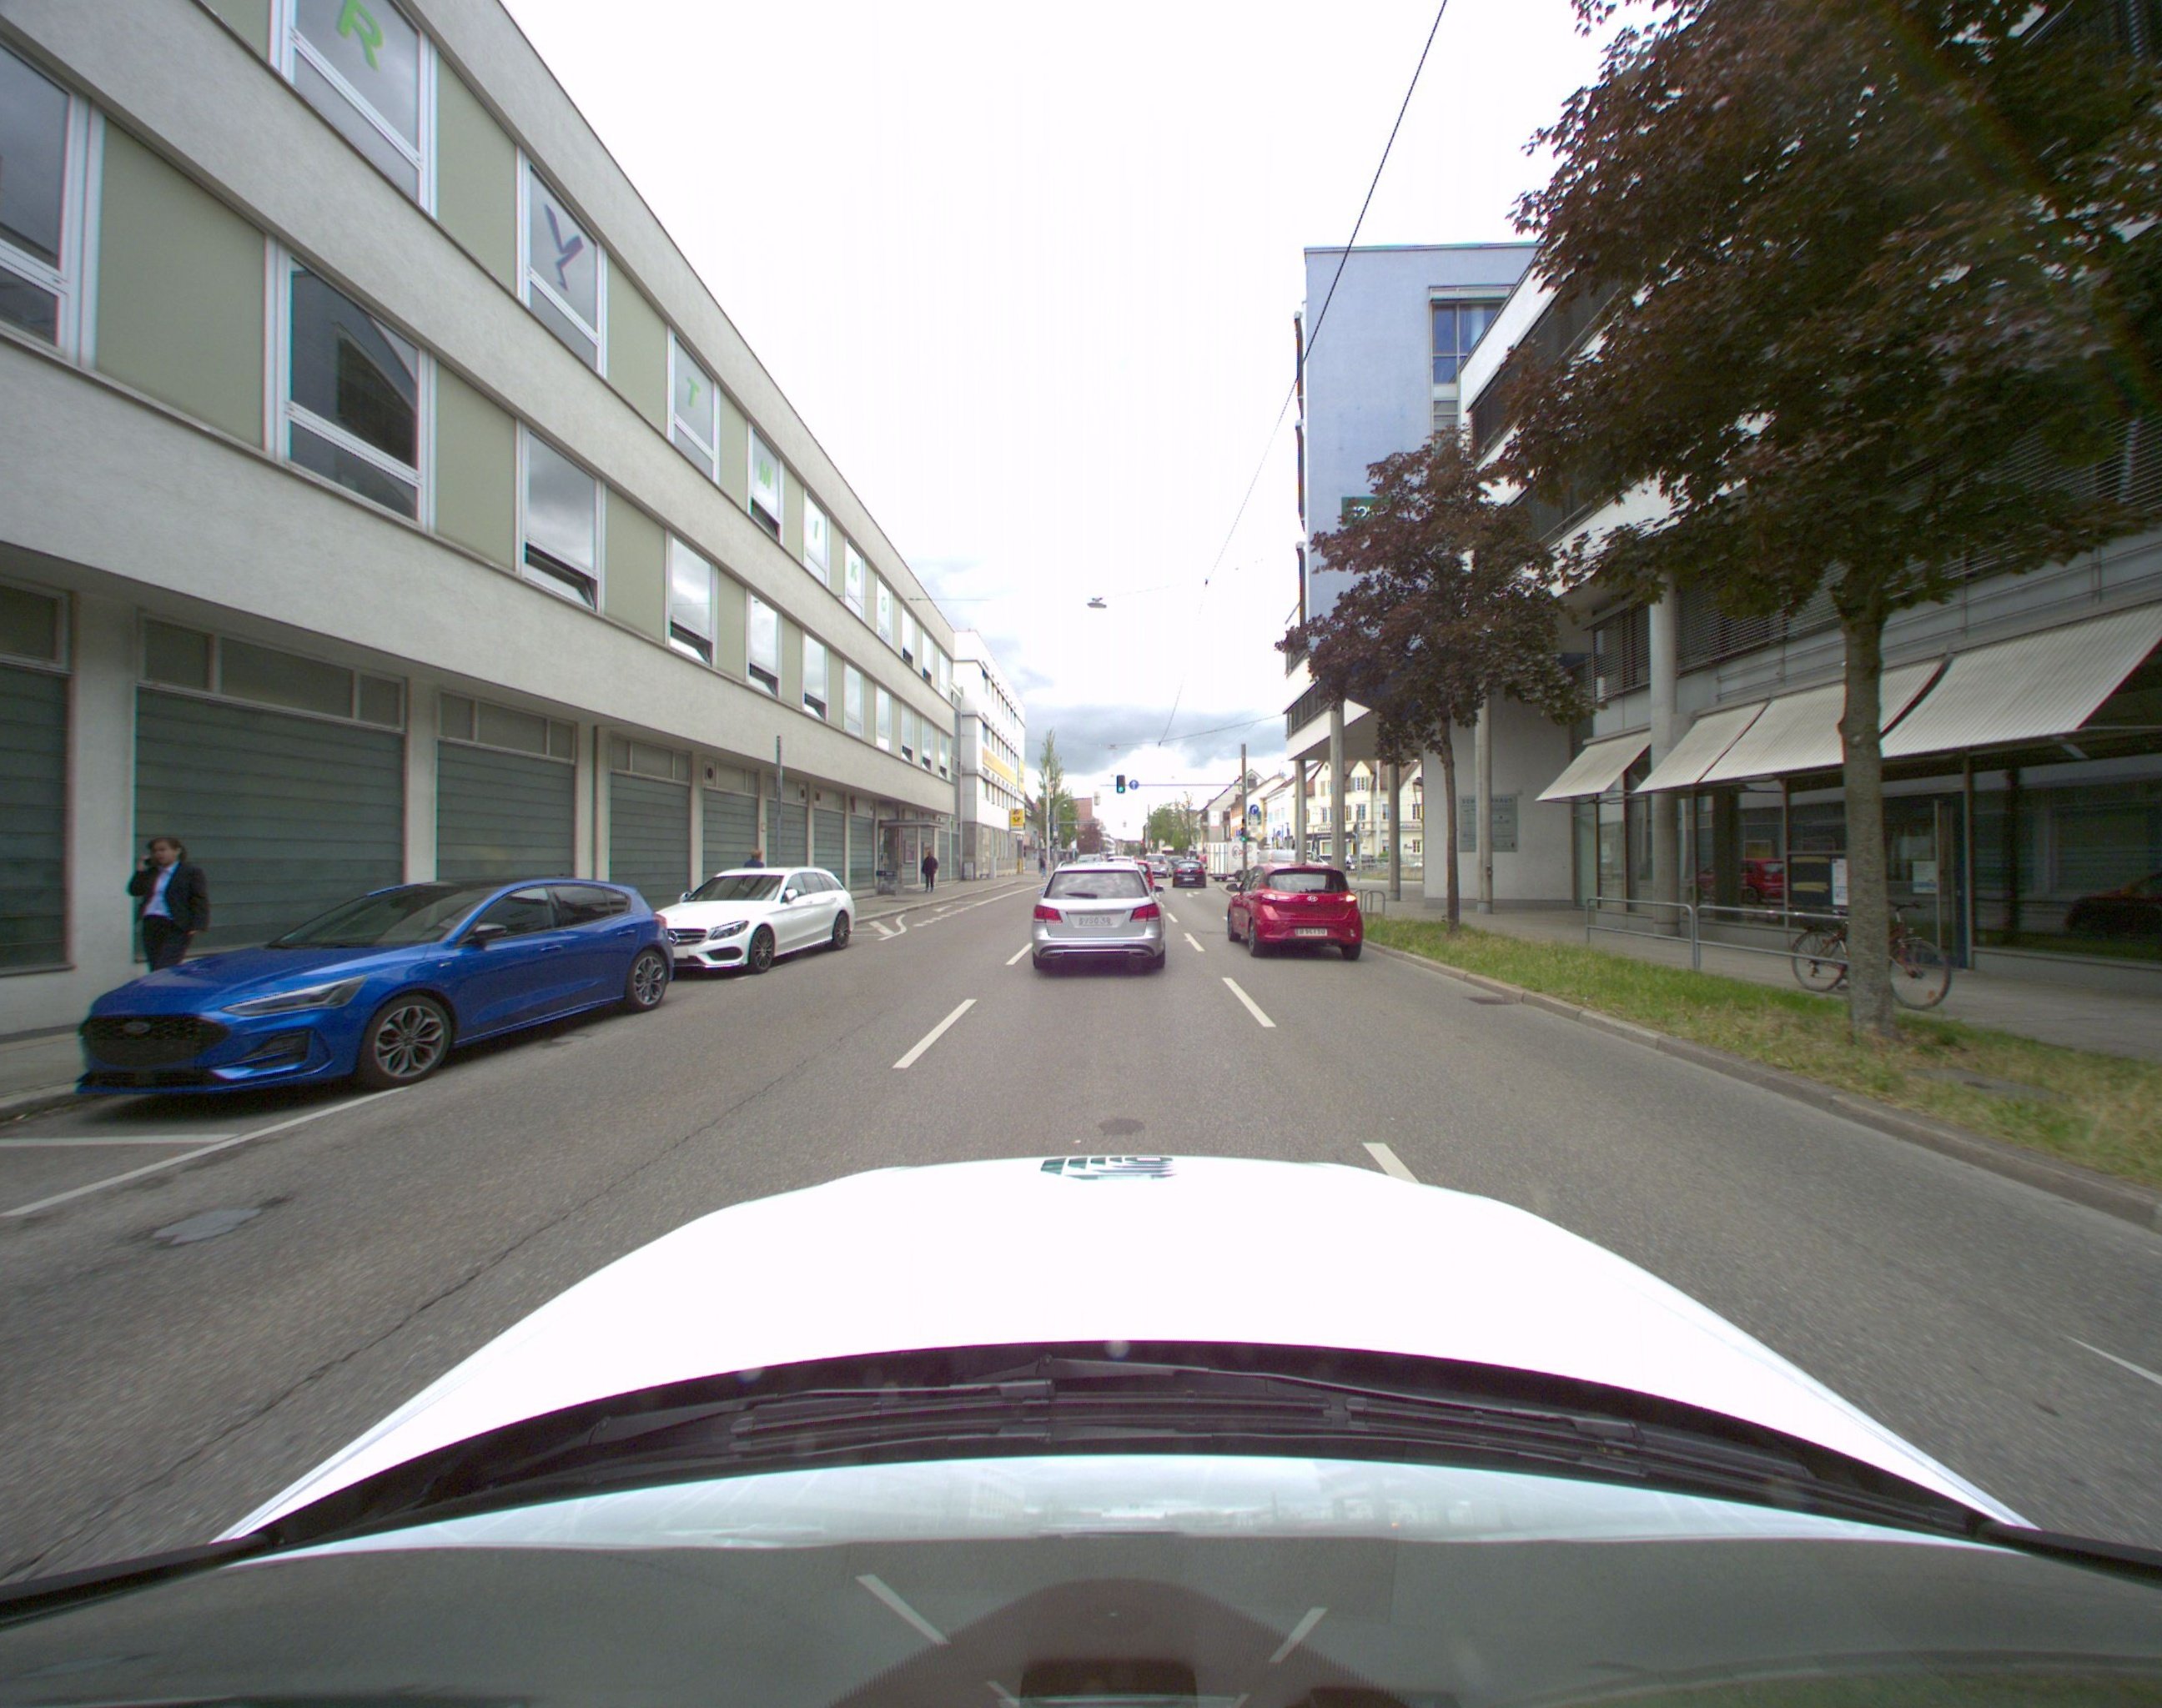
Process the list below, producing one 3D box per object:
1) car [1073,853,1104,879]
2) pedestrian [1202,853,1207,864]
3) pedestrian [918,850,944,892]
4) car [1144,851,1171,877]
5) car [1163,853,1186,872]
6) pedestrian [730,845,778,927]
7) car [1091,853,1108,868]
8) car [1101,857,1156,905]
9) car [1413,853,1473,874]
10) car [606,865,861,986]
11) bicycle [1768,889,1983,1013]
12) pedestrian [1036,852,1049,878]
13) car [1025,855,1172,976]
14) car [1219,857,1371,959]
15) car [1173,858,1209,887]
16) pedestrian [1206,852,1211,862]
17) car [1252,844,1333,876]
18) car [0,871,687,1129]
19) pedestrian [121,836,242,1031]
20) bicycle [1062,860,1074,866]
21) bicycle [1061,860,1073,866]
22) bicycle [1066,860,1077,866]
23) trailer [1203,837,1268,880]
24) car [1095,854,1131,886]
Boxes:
[{"bbox_3d":[0.516,0.749,53.990,1.768,1.632,4.772,-1,0,4],"label":"car"},{"bbox_3d":[18.407,0.707,121.660,0.577,1.666,0.649,1,-1,-8],"label":"pedestrian"},{"bbox_3d":[-6.330,0.720,34.460,0.858,1.718,1.032,1,0,1],"label":"pedestrian"},{"bbox_3d":[5.387,0.690,57.159,1.725,1.759,4.008,-1,0,7],"label":"car"},{"bbox_3d":[9.153,0.784,79.875,1.822,1.785,4.001,-1,0,1],"label":"car"},{"bbox_3d":[-7.044,0.671,17.572,0.587,1.718,1.055,-1,0,1],"label":"pedestrian"},{"bbox_3d":[2.199,0.784,96.860,1.791,1.694,3.901,-1,0,3],"label":"car"},{"bbox_3d":[1.555,0.851,27.707,1.728,1.508,4.001,0,0,1],"label":"car"},{"bbox_3d":[33.446,0.867,75.368,1.999,1.919,4.731,2,-1,-36],"label":"car"},{"bbox_3d":[-5.073,0.951,12.712,1.662,1.434,4.559,-2,0,5],"label":"car"},{"bbox_3d":[8.349,0.957,8.698,0.359,1.086,2.028,1,0,1],"label":"bicycle"},{"bbox_3d":[-2.603,0.759,54.945,0.643,1.718,0.785,1,0,10],"label":"pedestrian"},{"bbox_3d":[0.264,0.783,12.384,1.839,1.508,4.172,-1,0,1],"label":"car"},{"bbox_3d":[3.532,0.811,14.147,1.692,1.452,4.002,2,0,2],"label":"car"},{"bbox_3d":[5.714,0.927,42.657,1.726,1.410,4.006,-1,0,5],"label":"car"},{"bbox_3d":[18.546,0.463,118.414,0.577,1.469,0.650,1,-1,-4],"label":"pedestrian"},{"bbox_3d":[14.042,0.387,54.051,4.901,1.945,1.873,2,0,-17],"label":"car"},{"bbox_3d":[-5.539,0.935,7.038,1.806,1.426,4.271,-2,0,6],"label":"car"},{"bbox_3d":[-8.370,0.697,7.609,0.593,1.718,0.643,0,-1,-32],"label":"pedestrian"},{"bbox_3d":[-2.144,1.527,134.264,1.936,1.029,0.529,1,-1,-7],"label":"bicycle"},{"bbox_3d":[-2.340,1.532,135.528,1.936,1.029,0.529,1,-1,-7],"label":"bicycle"},{"bbox_3d":[-1.616,1.555,138.178,1.936,1.029,0.529,1,-1,-7],"label":"bicycle"},{"bbox_3d":[9.869,0.326,51.757,1.861,2.613,4.348,1,0,45],"label":"trailer"},{"bbox_3d":[1.565,0.787,40.992,1.728,1.508,4.001,-1,0,1],"label":"car"}]
